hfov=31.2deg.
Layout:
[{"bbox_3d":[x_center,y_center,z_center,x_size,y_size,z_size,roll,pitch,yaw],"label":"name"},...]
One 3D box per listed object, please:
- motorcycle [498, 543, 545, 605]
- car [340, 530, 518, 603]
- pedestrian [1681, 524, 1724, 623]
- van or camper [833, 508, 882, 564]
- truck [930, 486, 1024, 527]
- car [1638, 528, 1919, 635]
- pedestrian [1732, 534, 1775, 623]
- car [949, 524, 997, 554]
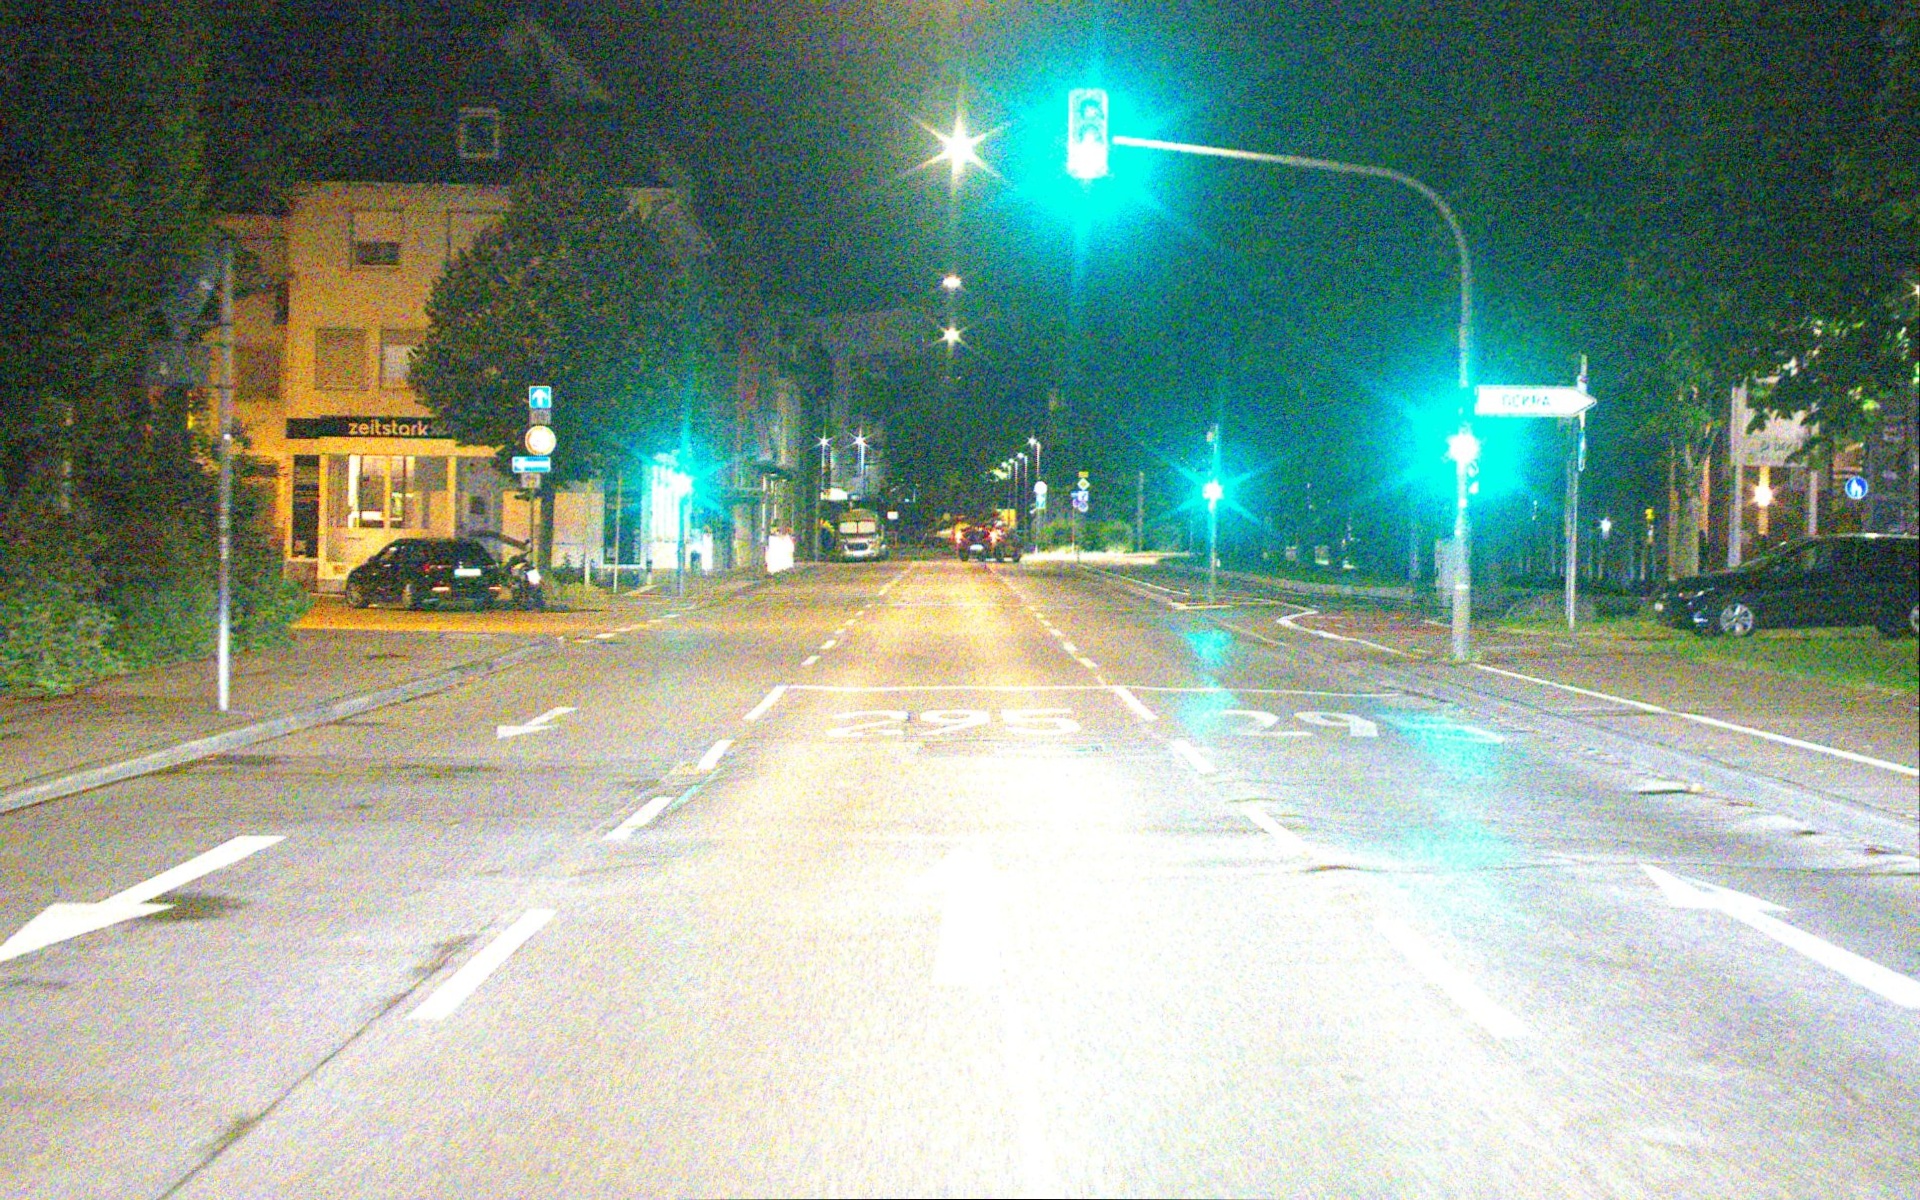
[{"bbox_3d":[-8.471,-0.509,66.357,0.571,1.175,2.033,0,1,-17],"label":"motorcycle"},{"bbox_3d":[-10.773,-0.696,69.483,1.886,1.419,4.730,-1,1,-31],"label":"car"},{"bbox_3d":[13.786,-0.496,63.843,0.621,1.805,0.759,0,1,0],"label":"pedestrian"},{"bbox_3d":[-4.896,-3.052,164.541,2.158,2.527,6.227,-2,1,-1],"label":"van or camper"},{"bbox_3d":[1.224,-6.852,252.533,6.775,2.834,2.000,1,1,-3],"label":"truck"},{"bbox_3d":[11.616,-0.259,47.576,4.081,1.449,1.787,0,1,-1],"label":"car"},{"bbox_3d":[14.694,-0.410,63.683,0.621,1.633,0.679,0,1,0],"label":"pedestrian"},{"bbox_3d":[0.609,-2.726,153.461,1.664,1.338,3.624,0,1,8],"label":"car"}]
